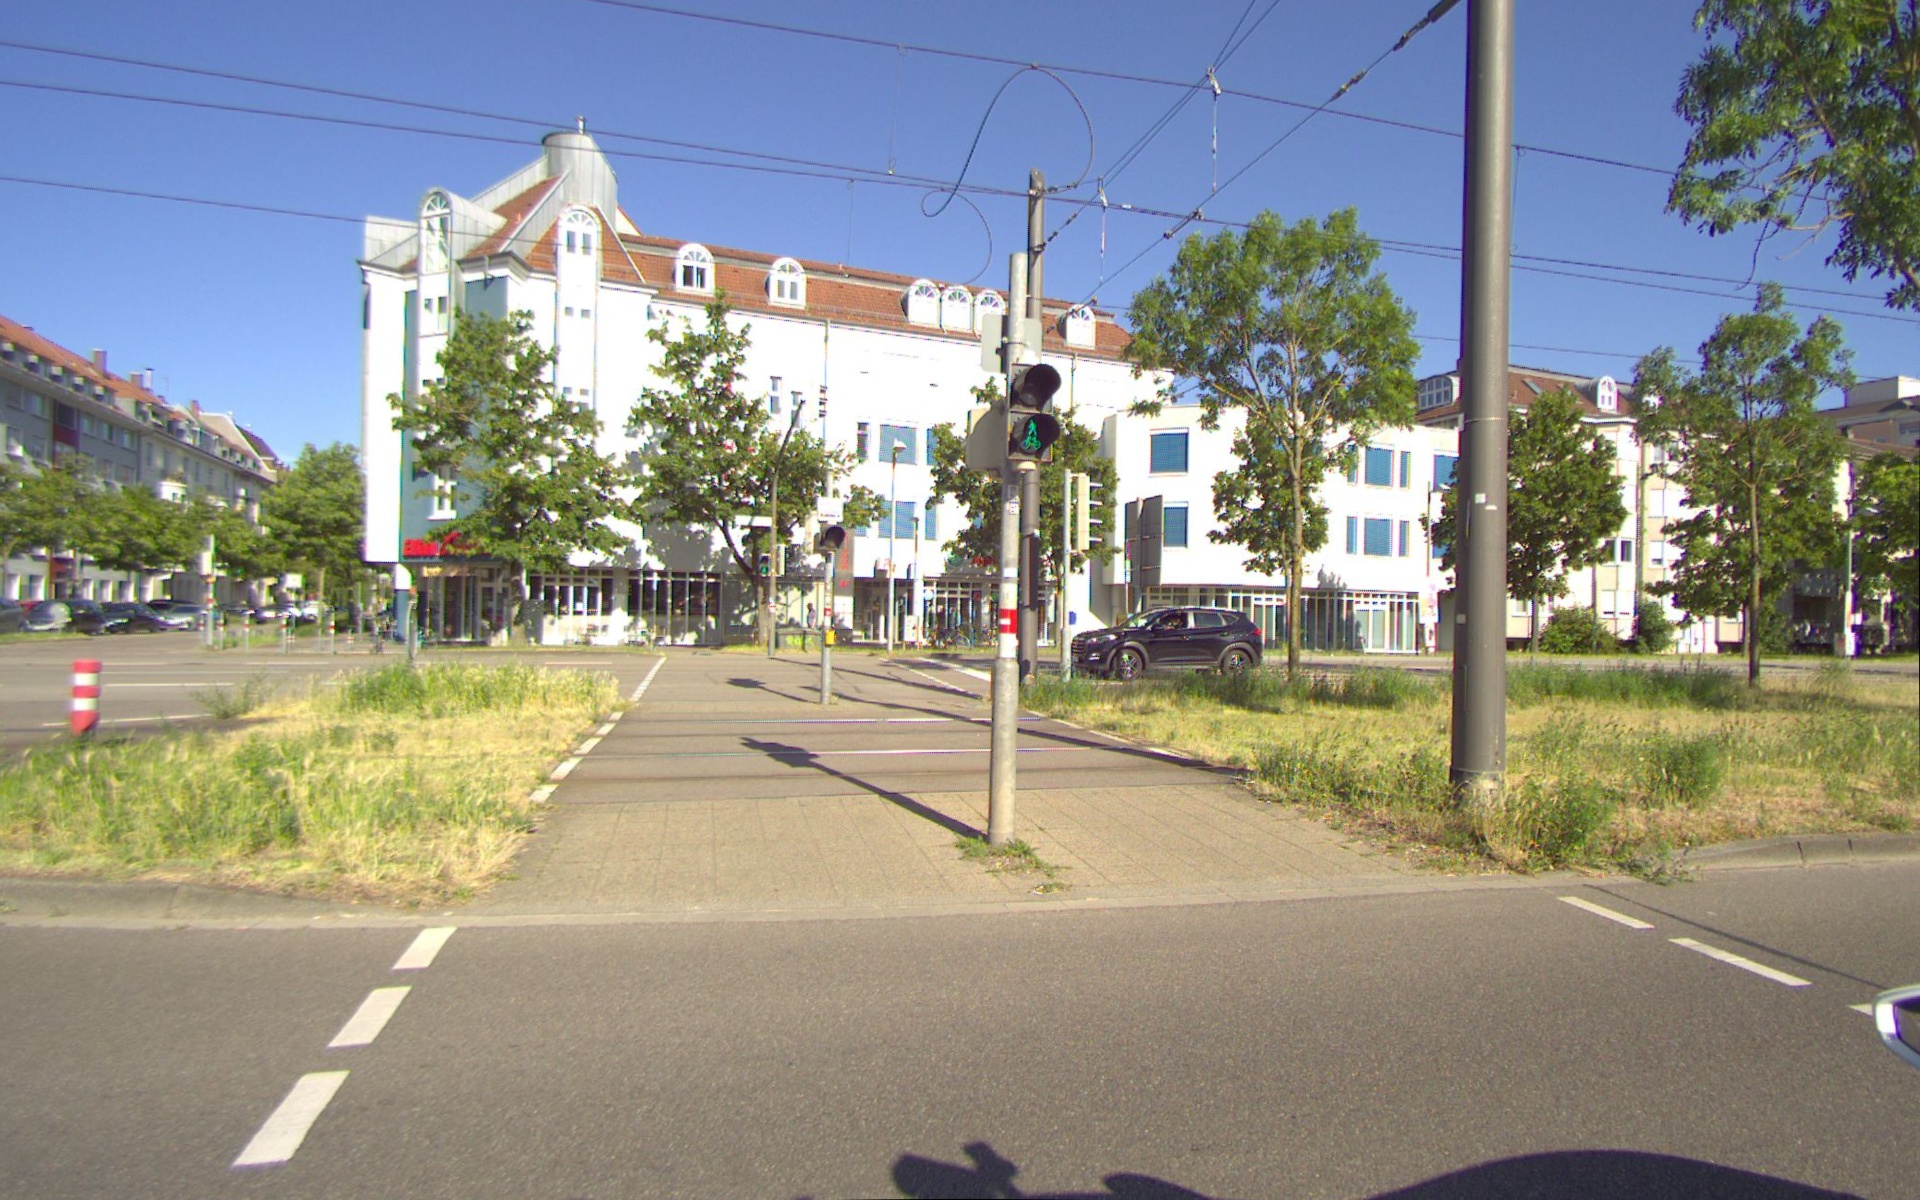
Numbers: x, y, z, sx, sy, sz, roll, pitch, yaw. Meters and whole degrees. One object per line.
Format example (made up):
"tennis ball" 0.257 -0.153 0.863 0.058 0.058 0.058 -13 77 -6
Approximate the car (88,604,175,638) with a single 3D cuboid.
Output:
"car" -39.354 0.987 47.825 1.668 1.450 4.381 4 -2 -19

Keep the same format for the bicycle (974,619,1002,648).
"bicycle" 1.191 1.407 43.046 0.553 1.198 1.861 1 -1 -20

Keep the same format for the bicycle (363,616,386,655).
"bicycle" -16.277 0.986 27.913 0.468 1.041 1.503 1 -1 -32

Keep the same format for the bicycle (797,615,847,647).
"bicycle" -5.379 1.208 39.241 1.845 1.198 0.558 1 -1 -26

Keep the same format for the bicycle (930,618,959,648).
"bicycle" -0.677 1.394 42.736 0.554 1.198 1.859 1 -1 -23

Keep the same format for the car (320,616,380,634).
"car" -44.633 1.851 73.608 3.530 1.239 1.721 2 -2 -24

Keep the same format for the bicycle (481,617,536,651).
"bicycle" -14.029 1.055 31.247 1.489 1.041 0.472 1 -1 -11

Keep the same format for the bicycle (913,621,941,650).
"bicycle" -1.391 1.473 42.114 0.554 1.198 1.859 1 -1 -23

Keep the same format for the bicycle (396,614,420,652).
"bicycle" -15.755 0.926 28.682 0.468 1.041 1.502 1 -1 -33

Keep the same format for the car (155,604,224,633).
"car" -42.684 1.026 55.748 1.668 1.450 4.381 4 -2 -19

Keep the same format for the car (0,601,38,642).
"car" -35.367 0.739 35.992 1.667 1.450 4.383 4 -2 -18

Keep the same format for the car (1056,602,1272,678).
"car" 4.613 0.911 22.962 4.437 1.631 1.995 1 -1 -13

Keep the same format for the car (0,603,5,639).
"car" -38.692 0.758 38.225 1.668 1.450 4.381 4 -2 -19

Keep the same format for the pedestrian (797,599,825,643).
"pedestrian" -6.077 0.852 40.949 0.979 1.746 0.650 1 -1 -23

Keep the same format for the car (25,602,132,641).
"car" -37.089 0.919 42.386 1.667 1.450 4.383 4 -2 -17

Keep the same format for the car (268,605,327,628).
"car" -64.938 1.651 98.491 4.458 2.040 1.988 2 -2 -25
